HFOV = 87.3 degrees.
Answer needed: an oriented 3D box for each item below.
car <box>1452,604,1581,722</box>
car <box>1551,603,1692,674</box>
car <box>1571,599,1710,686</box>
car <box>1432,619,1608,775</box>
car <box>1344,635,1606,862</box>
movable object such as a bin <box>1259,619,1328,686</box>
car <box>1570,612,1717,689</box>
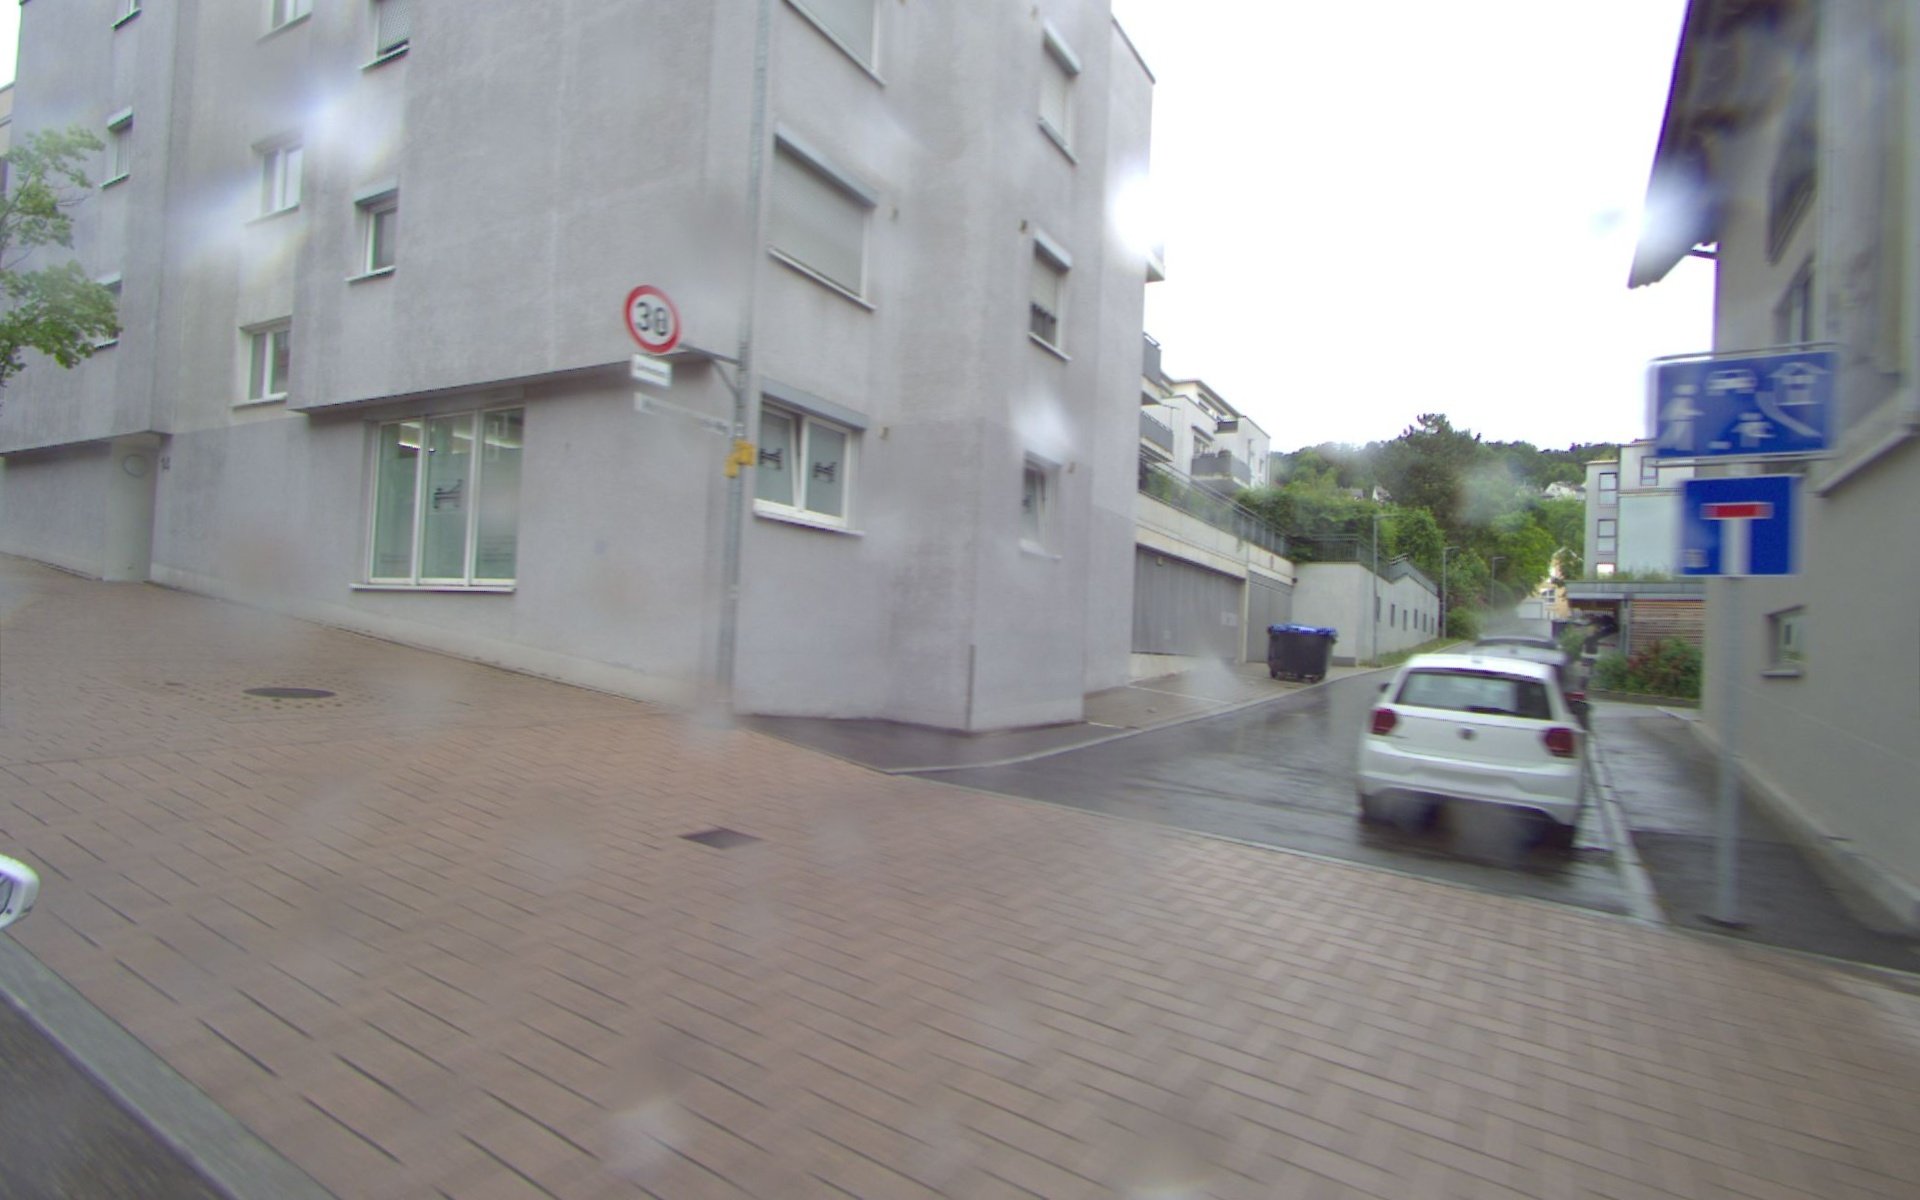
[{"bbox_3d":[10.068,1.024,18.181,1.675,1.730,3.762,7,4,30],"label":"car"},{"bbox_3d":[24.224,1.398,36.926,4.070,2.039,1.823,7,0,36],"label":"car"},{"bbox_3d":[21.795,1.356,32.381,3.417,2.313,1.520,7,-1,32],"label":"car"},{"bbox_3d":[7.556,1.156,13.591,1.675,1.564,3.762,7,4,30],"label":"car"},{"bbox_3d":[4.932,1.177,9.549,1.714,1.473,3.763,5,2,30],"label":"car"},{"bbox_3d":[8.023,1.241,24.227,1.079,1.381,1.123,7,3,-3],"label":"movable object such as a bin"},{"bbox_3d":[20.488,1.503,30.336,3.417,1.840,1.520,7,-1,32],"label":"car"}]
